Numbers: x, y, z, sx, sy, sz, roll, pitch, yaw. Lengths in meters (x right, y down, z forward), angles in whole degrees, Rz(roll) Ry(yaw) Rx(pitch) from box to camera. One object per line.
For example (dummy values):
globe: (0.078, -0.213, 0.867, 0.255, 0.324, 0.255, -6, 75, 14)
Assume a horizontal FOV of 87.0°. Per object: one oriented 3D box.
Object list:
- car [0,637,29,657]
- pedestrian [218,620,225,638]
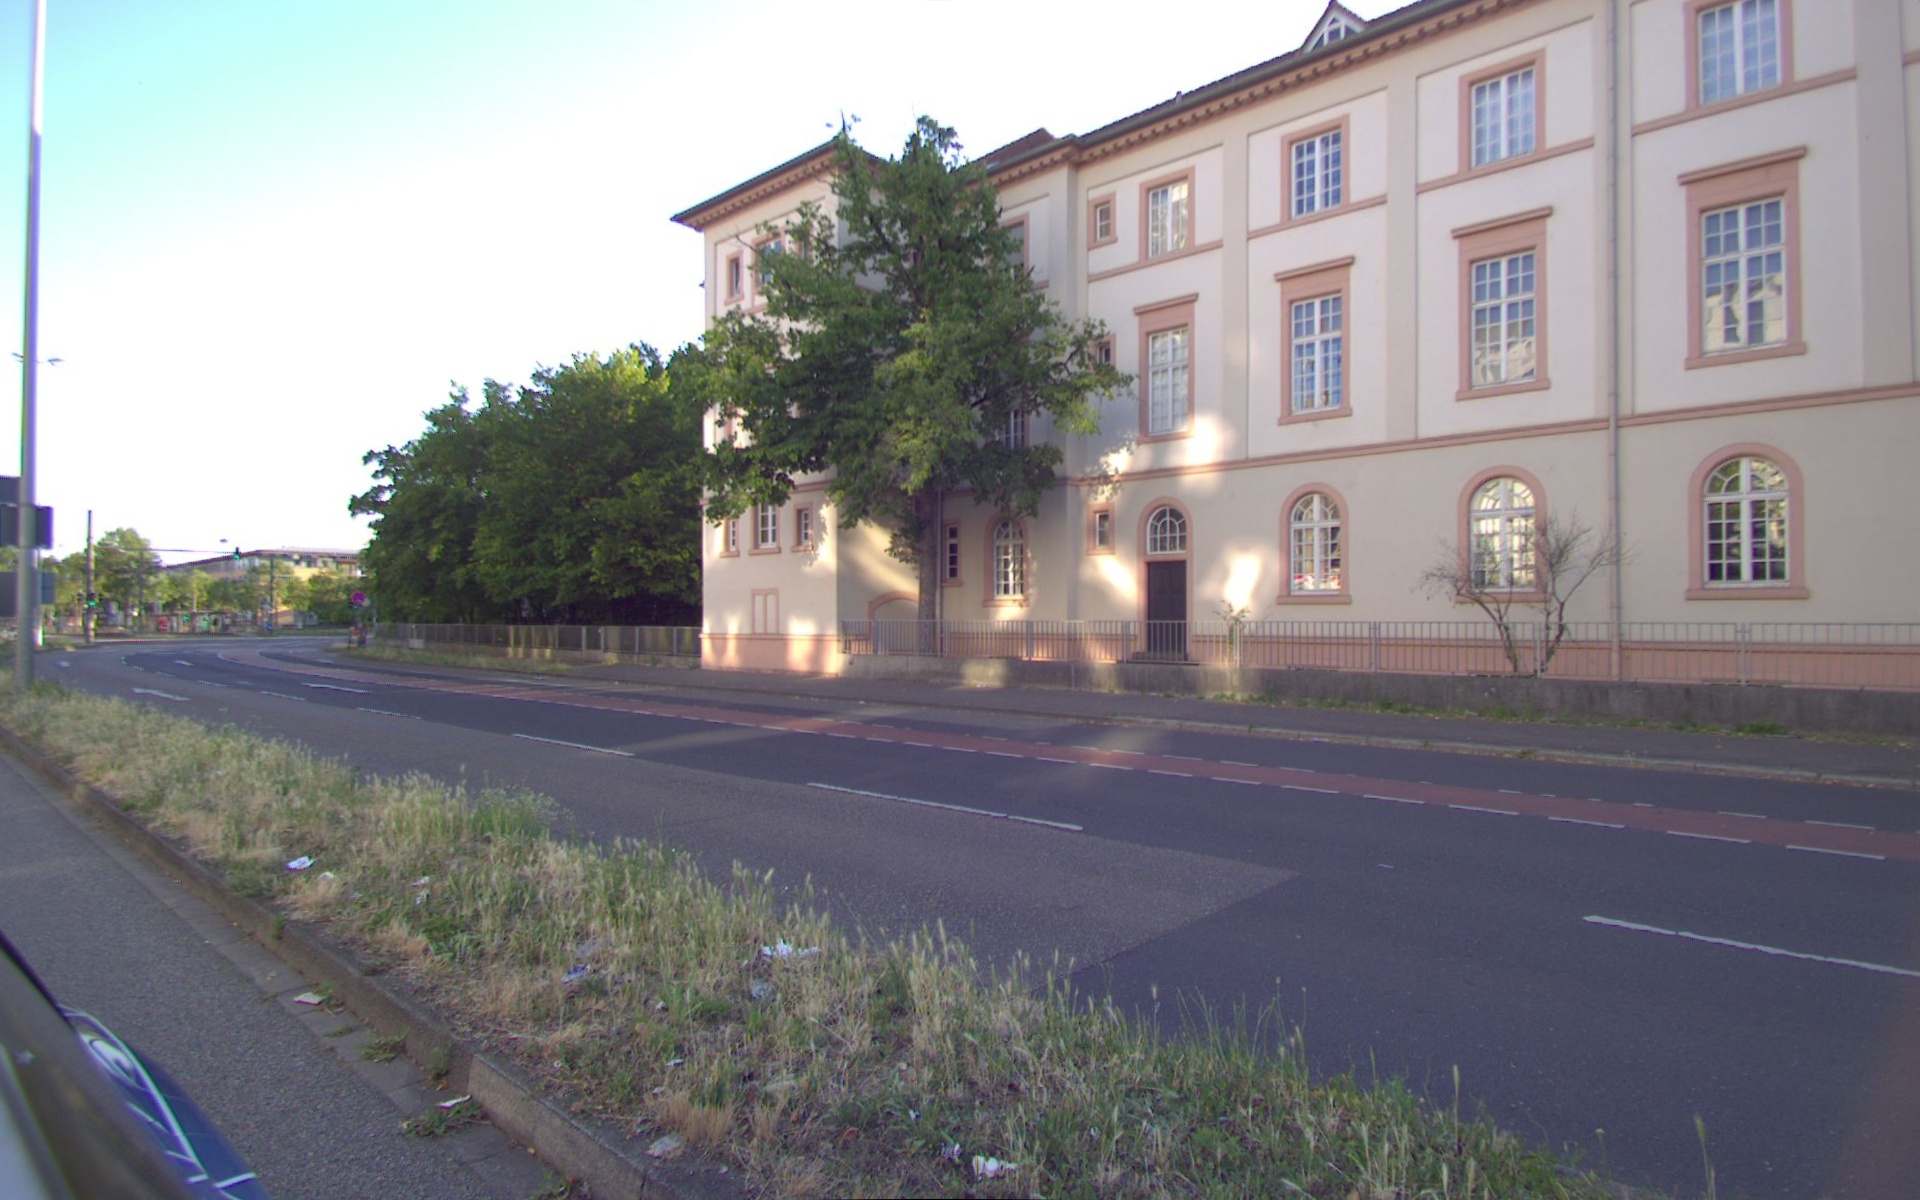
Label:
car: (-71.933, 3.540, 76.846, 1.650, 1.429, 4.447, 0, -1, -40)
pedestrian: (-85.541, 3.385, 117.214, 0.664, 2.029, 0.549, -2, -2, 41)
